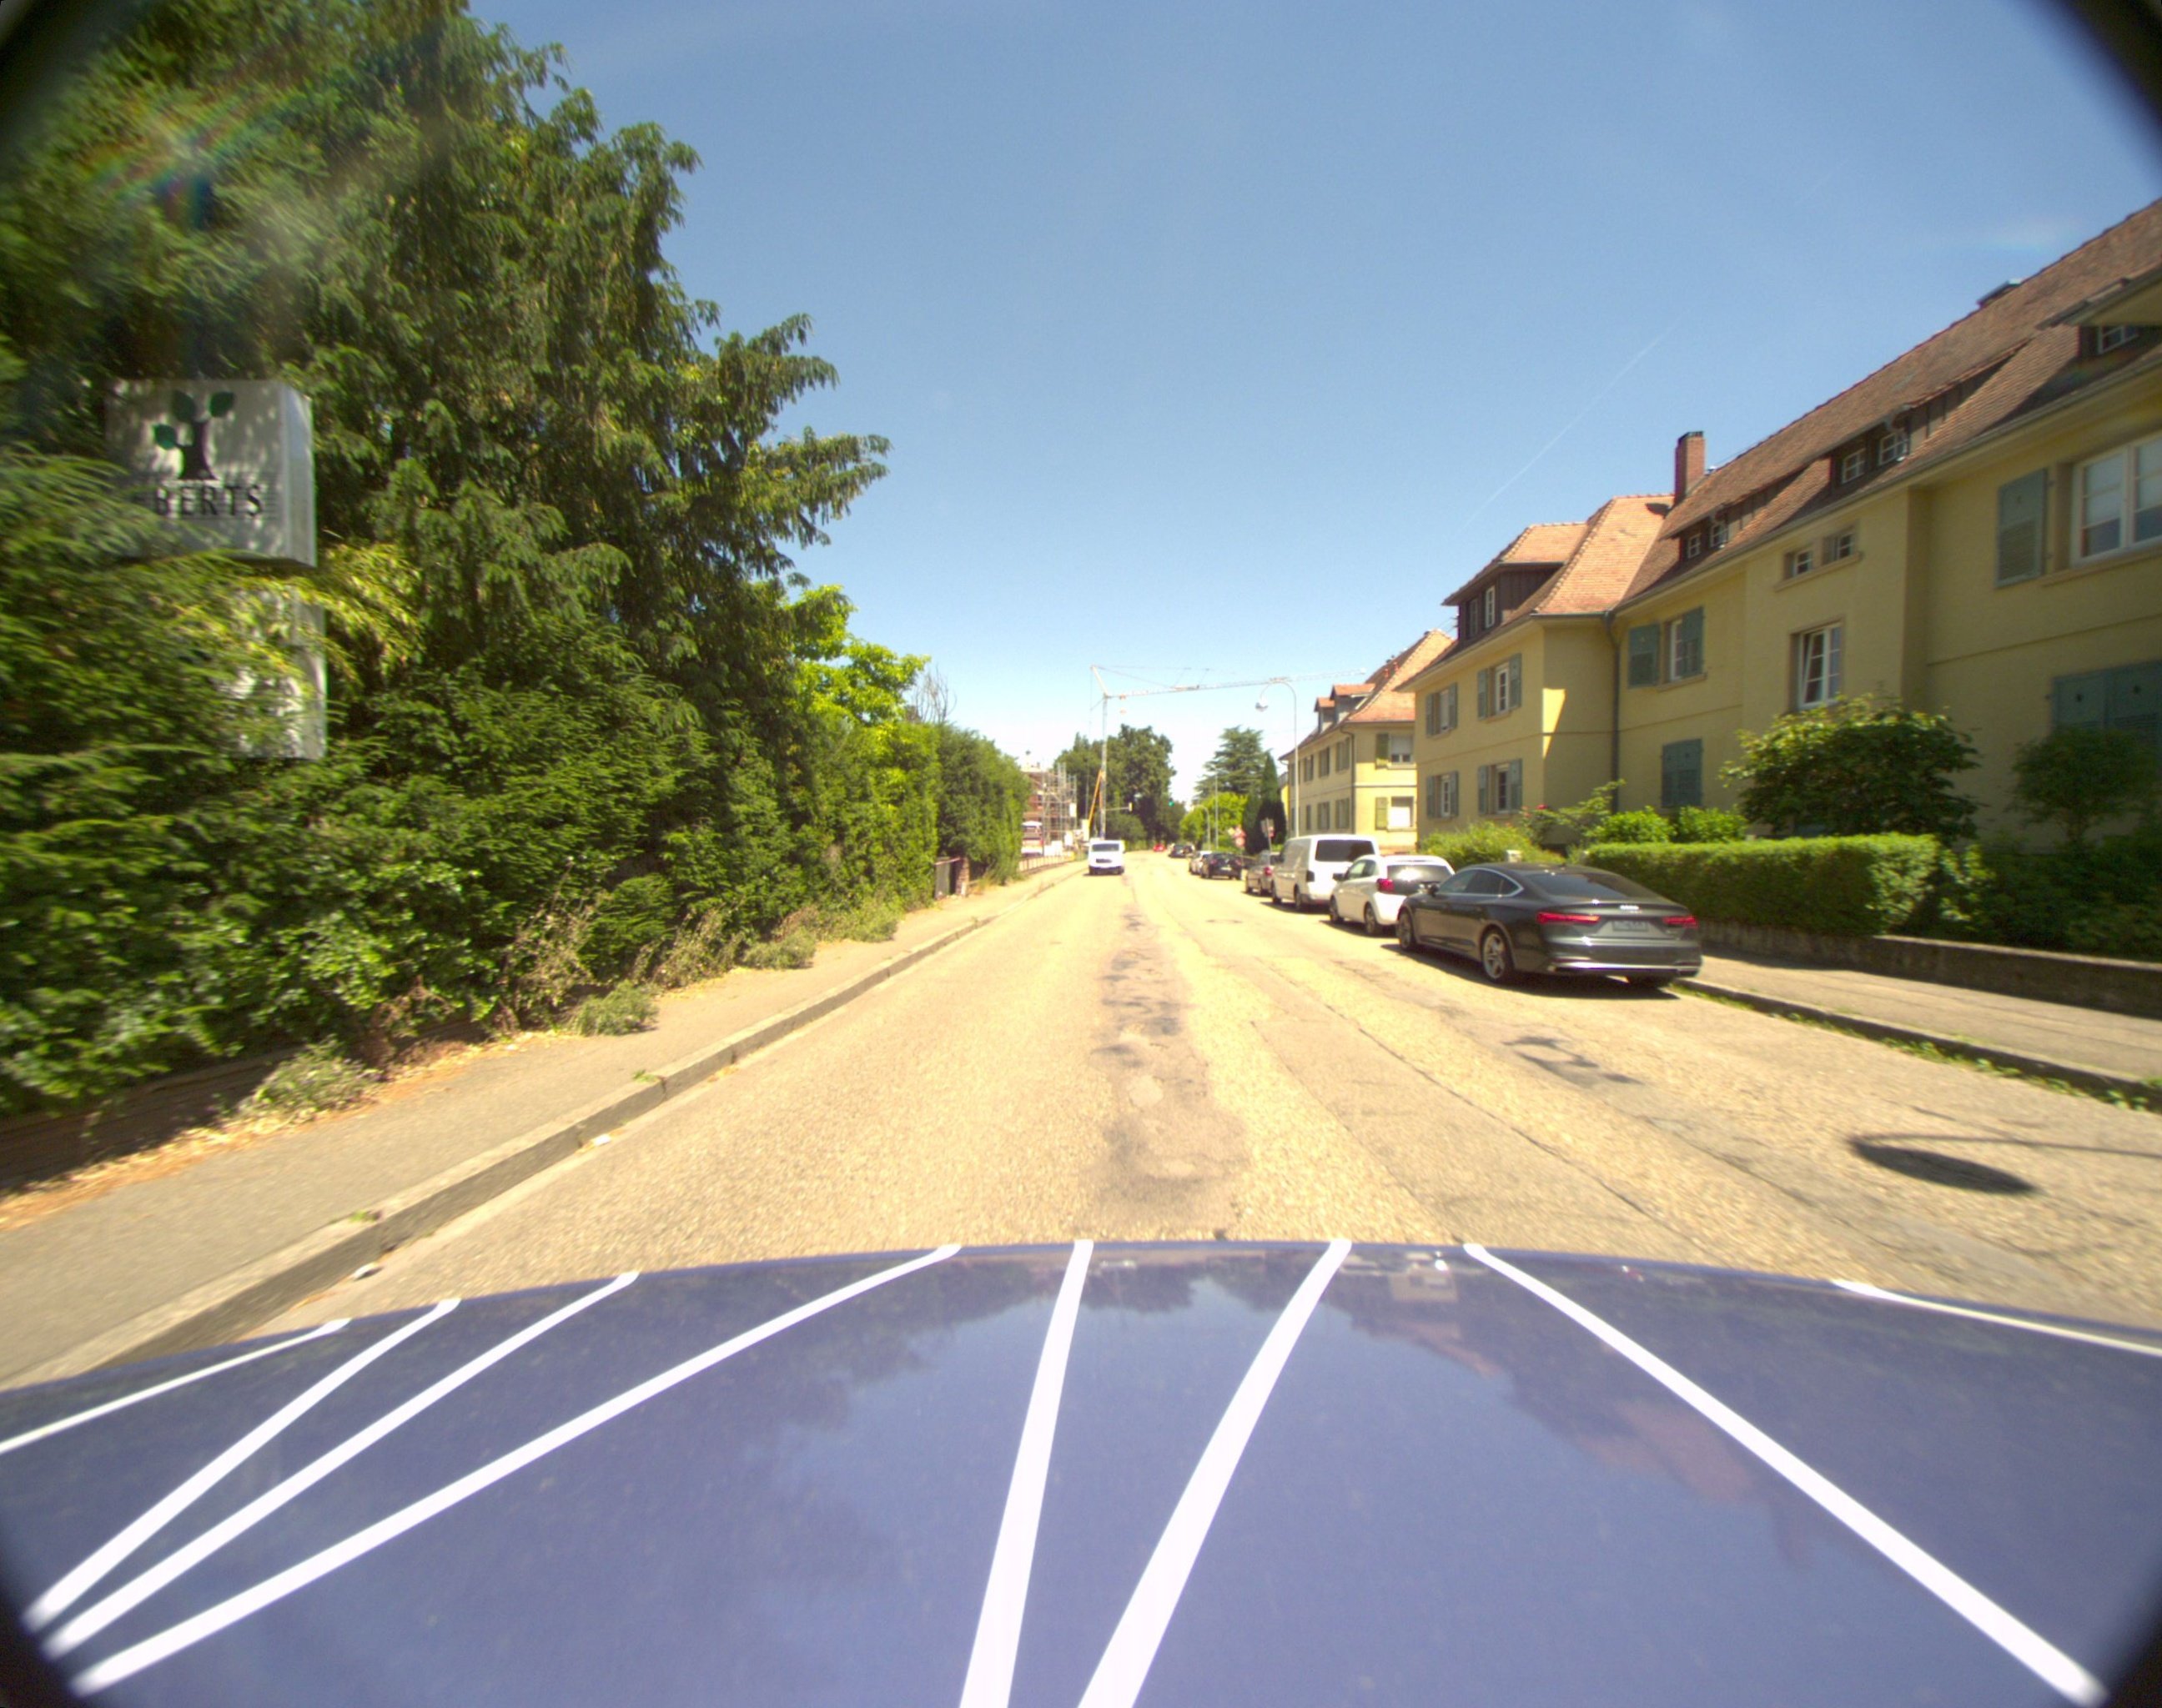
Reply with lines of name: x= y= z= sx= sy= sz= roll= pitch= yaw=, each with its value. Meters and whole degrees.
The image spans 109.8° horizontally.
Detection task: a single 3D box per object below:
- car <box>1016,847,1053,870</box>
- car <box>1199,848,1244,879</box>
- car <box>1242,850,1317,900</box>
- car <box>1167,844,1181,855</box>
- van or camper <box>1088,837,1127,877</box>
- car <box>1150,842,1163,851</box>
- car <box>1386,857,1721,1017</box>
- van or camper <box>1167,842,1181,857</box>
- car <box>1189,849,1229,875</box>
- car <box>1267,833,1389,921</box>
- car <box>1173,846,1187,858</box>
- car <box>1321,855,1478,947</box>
car: x=-3.282 y=0.304 z=54.180 sx=1.714 sy=1.515 sz=3.842 roll=0 pitch=1 yaw=11
car: x=7.367 y=0.468 z=40.152 sx=1.719 sy=1.477 sz=4.076 roll=1 pitch=2 yaw=2
car: x=6.712 y=0.647 z=26.064 sx=1.690 sy=1.516 sz=4.063 roll=2 pitch=1 yaw=4
car: x=12.752 y=-0.624 z=104.186 sx=1.684 sy=1.433 sz=4.249 roll=1 pitch=2 yaw=10
van or camper: x=1.607 y=0.122 z=44.409 sx=1.998 sy=1.968 sz=5.361 roll=-3 pitch=3 yaw=4
car: x=13.852 y=-1.442 z=139.137 sx=1.756 sy=1.609 sz=3.577 roll=0 pitch=1 yaw=17
car: x=5.494 y=0.823 z=9.636 sx=1.670 sy=1.484 sz=4.466 roll=-1 pitch=1 yaw=3
van or camper: x=12.083 y=-0.633 z=98.620 sx=1.684 sy=1.794 sz=3.987 roll=1 pitch=2 yaw=8
car: x=7.637 y=0.420 z=45.658 sx=1.798 sy=1.394 sz=4.218 roll=1 pitch=1 yaw=2
car: x=6.228 y=0.486 z=19.716 sx=1.882 sy=1.952 sz=4.626 roll=2 pitch=1 yaw=4
car: x=12.238 y=-0.259 z=94.257 sx=1.684 sy=1.404 sz=3.927 roll=1 pitch=2 yaw=6
car: x=5.909 y=0.789 z=14.541 sx=1.669 sy=1.484 sz=3.478 roll=1 pitch=1 yaw=3
